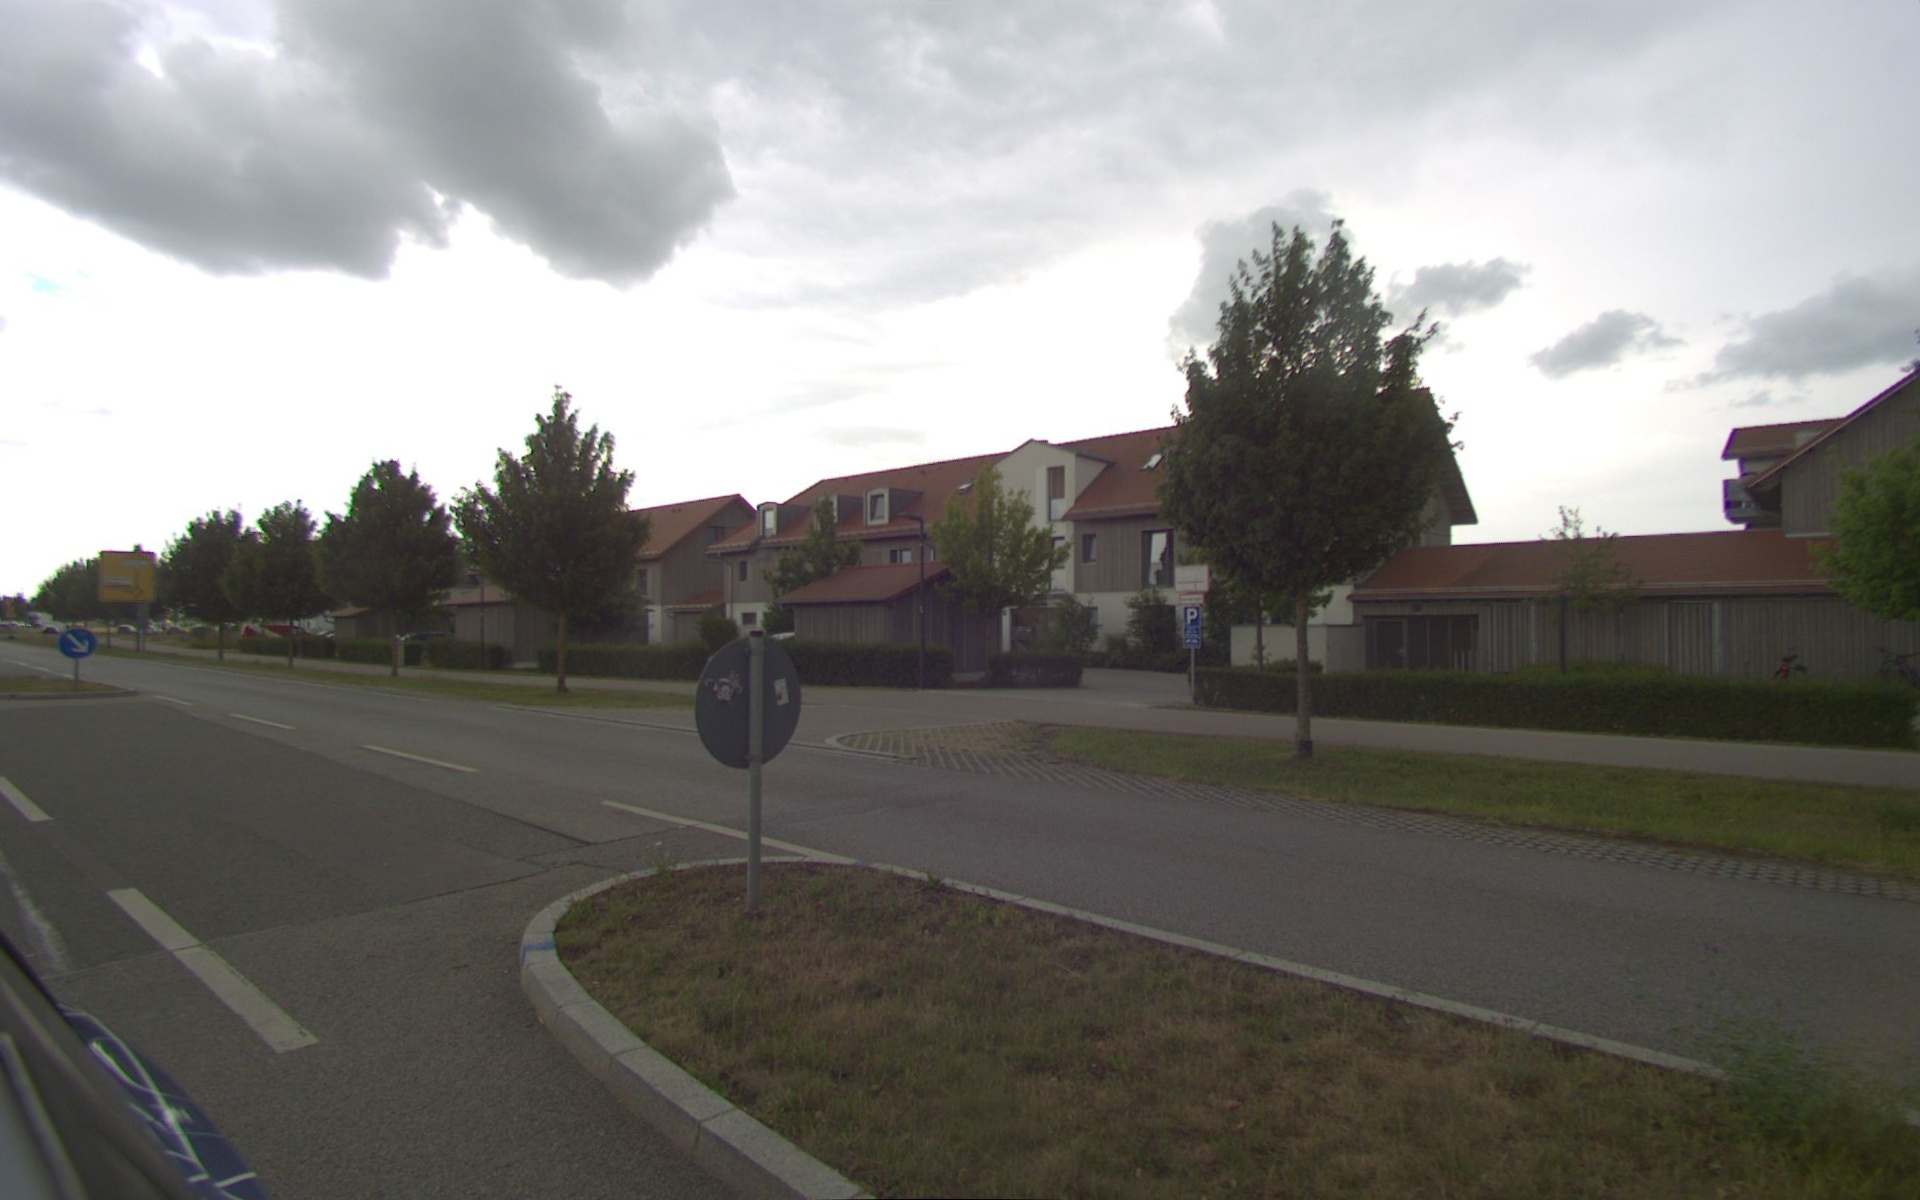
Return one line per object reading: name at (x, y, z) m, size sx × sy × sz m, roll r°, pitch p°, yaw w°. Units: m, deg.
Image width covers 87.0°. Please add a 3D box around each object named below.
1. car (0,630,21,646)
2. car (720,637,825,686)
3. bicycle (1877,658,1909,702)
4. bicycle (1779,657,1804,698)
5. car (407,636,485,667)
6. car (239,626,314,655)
car at (-116.119, 4.589, 123.070) m, size 3.989 × 1.796 × 1.977 m, roll -1°, pitch 0°, yaw 33°
car at (-6.473, 2.103, 35.218) m, size 1.300 × 1.450 × 3.546 m, roll -1°, pitch 0°, yaw 41°
bicycle at (21.576, 1.831, 23.426) m, size 0.419 × 0.916 × 1.922 m, roll -1°, pitch -2°, yaw 39°
bicycle at (20.174, 1.857, 24.557) m, size 0.419 × 0.916 × 1.922 m, roll -1°, pitch -2°, yaw 39°
car at (-27.920, 2.778, 55.071) m, size 1.300 × 1.450 × 3.546 m, roll -1°, pitch 0°, yaw 41°
car at (-52.429, 3.083, 77.656) m, size 4.505 × 2.029 × 2.002 m, roll -1°, pitch 0°, yaw -44°
